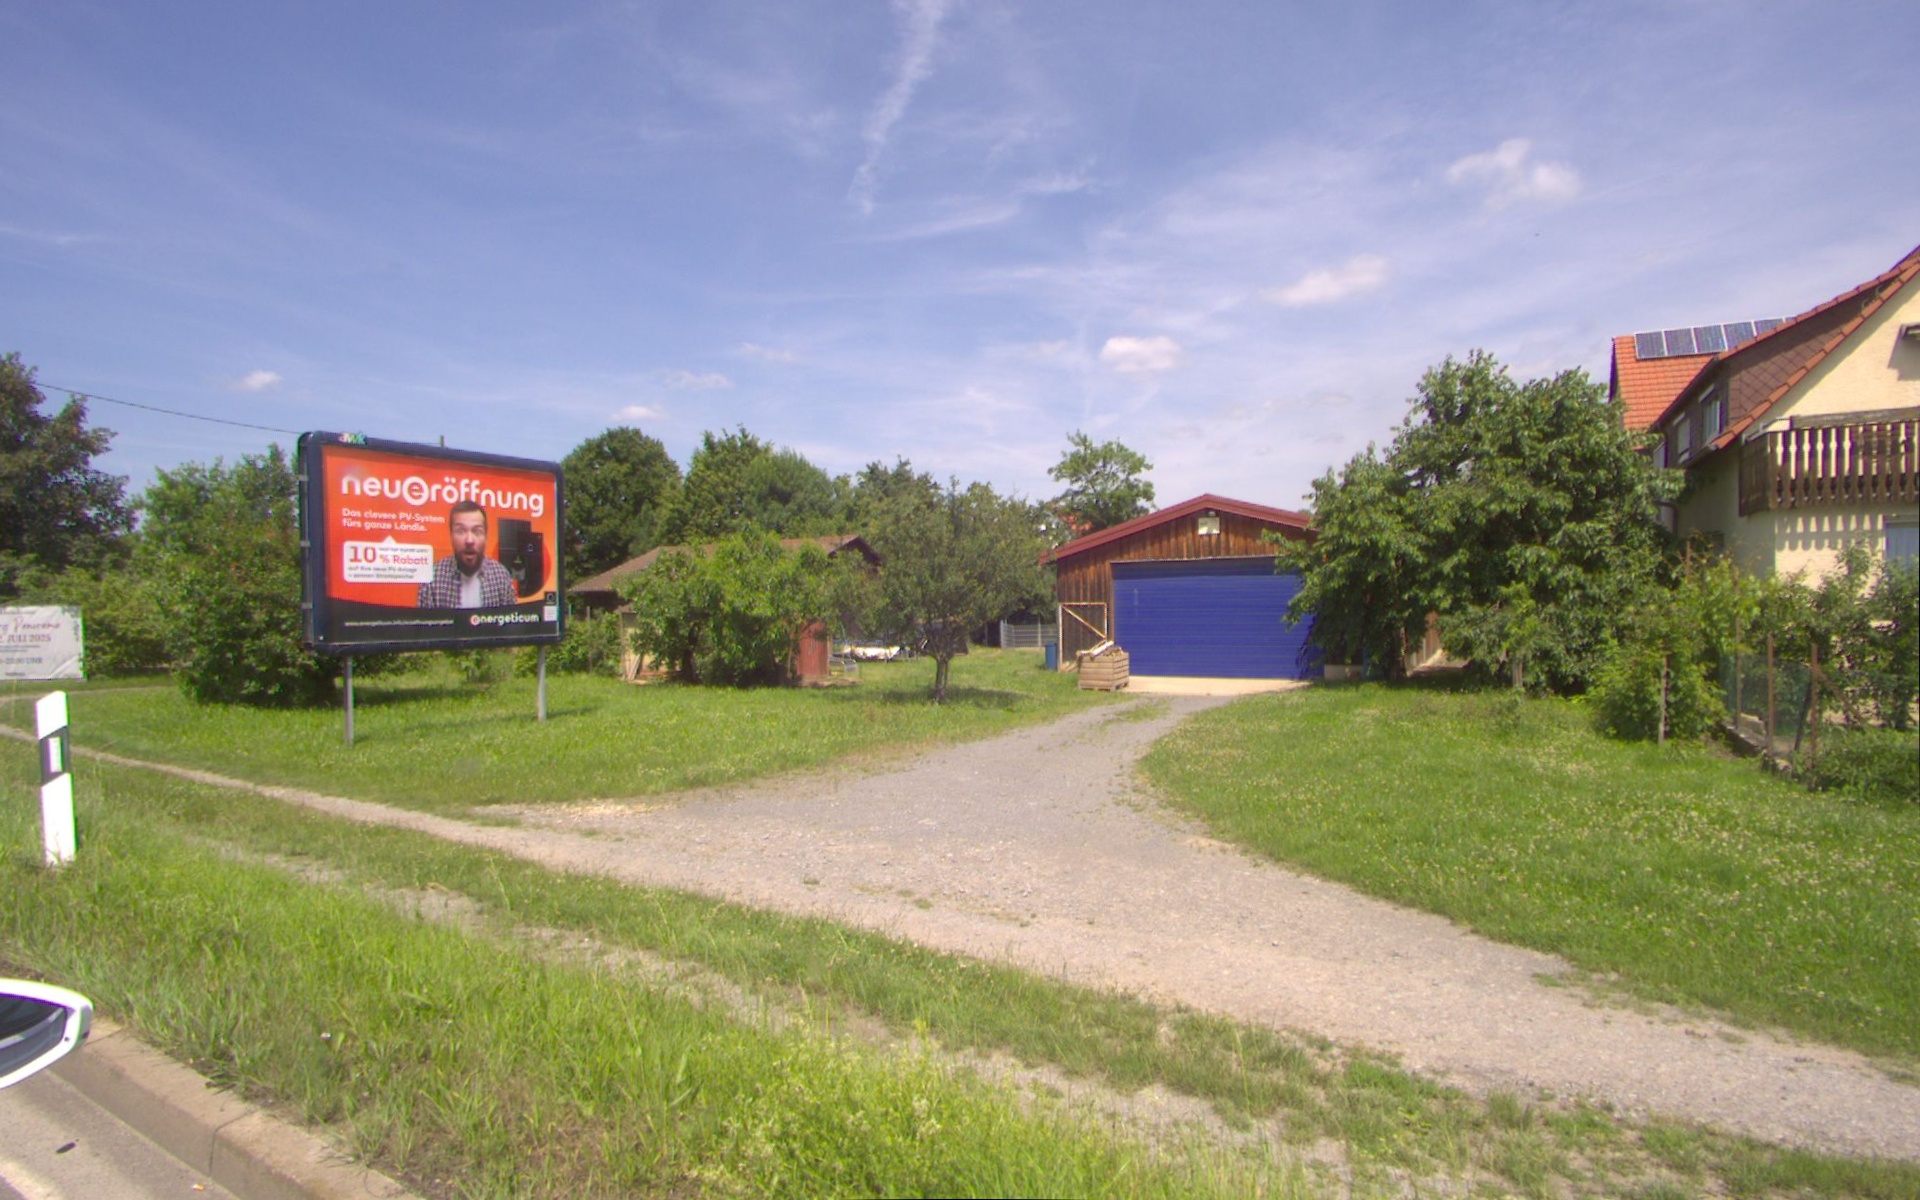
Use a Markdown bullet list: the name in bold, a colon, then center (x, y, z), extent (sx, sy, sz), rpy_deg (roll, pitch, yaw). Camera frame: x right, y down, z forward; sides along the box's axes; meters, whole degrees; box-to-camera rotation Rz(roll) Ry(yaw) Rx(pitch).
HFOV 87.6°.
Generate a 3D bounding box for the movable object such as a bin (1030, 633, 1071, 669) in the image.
- **movable object such as a bin**: center (2.773, 1.534, 30.471), extent (1.044, 1.046, 1.040), rpy_deg (0, -1, 17)

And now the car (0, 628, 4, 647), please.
- **car**: center (-91.359, 3.536, 93.760), extent (1.974, 1.706, 3.974), rpy_deg (1, -1, -34)

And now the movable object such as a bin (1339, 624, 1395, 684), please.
- **movable object such as a bin**: center (9.989, 1.295, 24.538), extent (1.049, 1.415, 1.271), rpy_deg (0, -1, 33)
